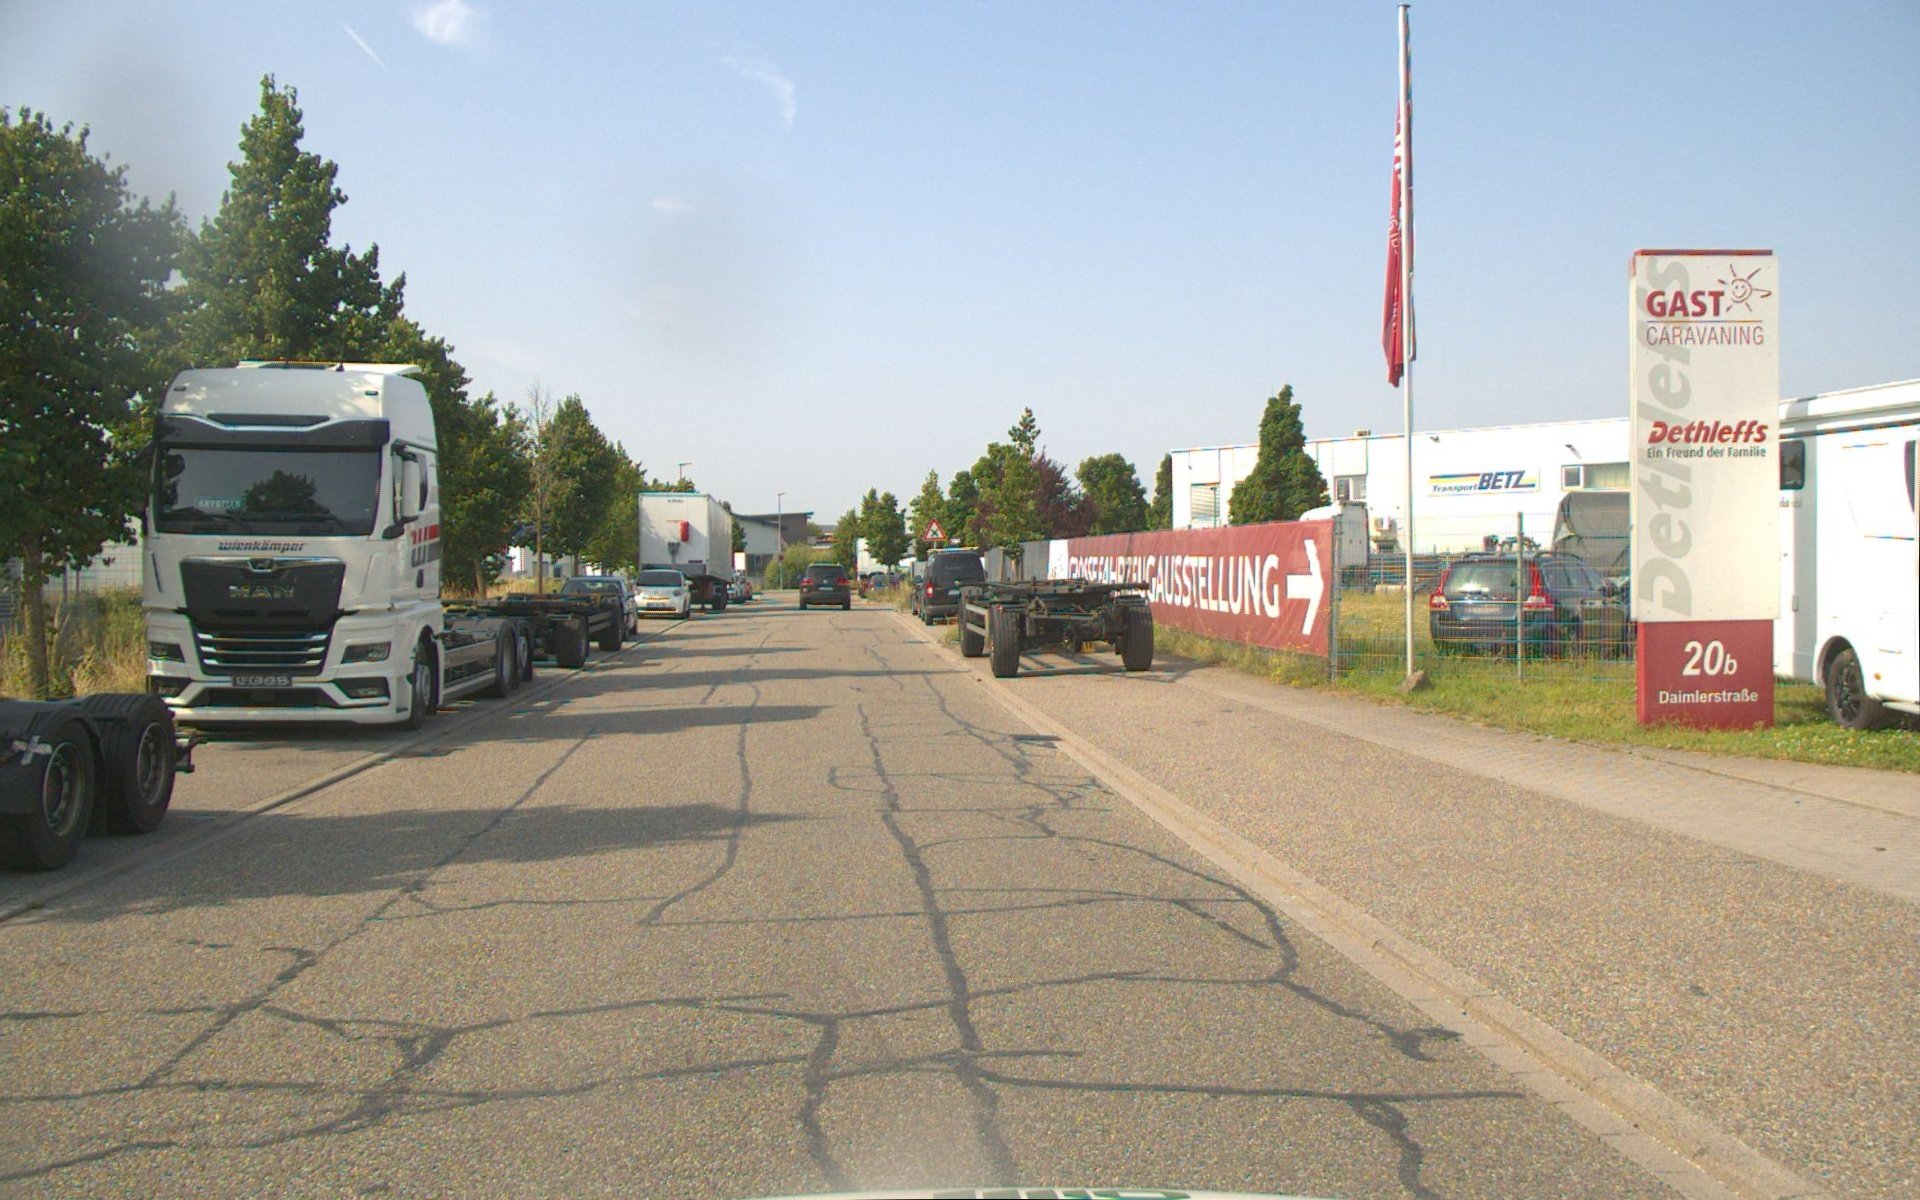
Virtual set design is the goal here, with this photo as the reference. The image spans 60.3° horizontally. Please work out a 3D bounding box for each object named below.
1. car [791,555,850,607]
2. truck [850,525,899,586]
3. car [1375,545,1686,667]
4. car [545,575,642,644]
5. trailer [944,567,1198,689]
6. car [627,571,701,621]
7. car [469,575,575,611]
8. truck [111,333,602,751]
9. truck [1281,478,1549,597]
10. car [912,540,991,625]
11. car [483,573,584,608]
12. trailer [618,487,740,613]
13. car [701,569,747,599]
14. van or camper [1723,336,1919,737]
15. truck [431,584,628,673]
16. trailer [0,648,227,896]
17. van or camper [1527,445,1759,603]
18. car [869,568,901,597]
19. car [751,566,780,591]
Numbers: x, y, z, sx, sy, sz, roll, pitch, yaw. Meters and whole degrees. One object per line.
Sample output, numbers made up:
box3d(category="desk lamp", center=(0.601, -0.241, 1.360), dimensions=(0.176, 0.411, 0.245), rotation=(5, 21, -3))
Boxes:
box3d(category="car", center=(-5.230, -0.737, 61.764), dimensions=(1.956, 1.836, 3.993), rotation=(1, 1, -8))
box3d(category="truck", center=(-5.478, -2.855, 106.054), dimensions=(2.830, 3.648, 8.058), rotation=(-3, 1, -3))
box3d(category="car", center=(7.838, 0.029, 22.662), dimensions=(3.953, 1.502, 2.147), rotation=(-2, 1, -35))
box3d(category="car", center=(-8.421, 0.173, 38.315), dimensions=(1.849, 1.461, 3.993), rotation=(-2, 1, -8))
box3d(category="trailer", center=(1.418, 0.264, 26.330), dimensions=(2.572, 1.412, 9.446), rotation=(-4, 2, -5))
box3d(category="car", center=(-9.229, -0.152, 51.829), dimensions=(1.775, 1.452, 3.998), rotation=(-2, 1, -3))
box3d(category="car", center=(-18.247, -0.298, 69.019), dimensions=(3.904, 1.363, 1.618), rotation=(-1, 2, 2))
box3d(category="truck", center=(-7.197, -0.703, 22.395), dimensions=(2.574, 3.997, 12.911), rotation=(-1, 1, -3))
box3d(category="truck", center=(16.347, -2.163, 59.961), dimensions=(9.136, 4.041, 2.447), rotation=(0, 2, 39))
box3d(category="car", center=(-0.267, -0.513, 44.155), dimensions=(1.783, 2.012, 3.998), rotation=(-5, 2, -3))
box3d(category="car", center=(-18.443, -0.426, 71.595), dimensions=(3.904, 1.363, 1.618), rotation=(-1, 2, 2))
box3d(category="trailer", center=(-10.917, -1.927, 65.790), dimensions=(3.337, 4.415, 13.909), rotation=(-1, 1, -4))
box3d(category="car", center=(-12.995, -0.896, 91.234), dimensions=(1.953, 1.549, 4.000), rotation=(-2, 1, -1))
box3d(category="van or camper", center=(8.305, -0.496, 12.352), dimensions=(2.282, 2.994, 6.975), rotation=(-1, 2, 3))
box3d(category="truck", center=(-7.792, 0.439, 30.703), dimensions=(2.475, 1.287, 6.520), rotation=(-2, 2, -5))
box3d(category="trailer", center=(-6.190, 0.944, 8.911), dimensions=(2.524, 1.119, 5.196), rotation=(0, 1, -5))
box3d(category="van or camper", center=(15.106, -1.658, 36.283), dimensions=(2.623, 3.137, 6.755), rotation=(0, 3, 42))
box3d(category="car", center=(-4.328, -1.026, 95.399), dimensions=(1.782, 1.474, 3.799), rotation=(-3, 2, -3))
box3d(category="car", center=(-14.326, -1.609, 122.033), dimensions=(1.955, 1.802, 3.996), rotation=(-1, 1, -5))
